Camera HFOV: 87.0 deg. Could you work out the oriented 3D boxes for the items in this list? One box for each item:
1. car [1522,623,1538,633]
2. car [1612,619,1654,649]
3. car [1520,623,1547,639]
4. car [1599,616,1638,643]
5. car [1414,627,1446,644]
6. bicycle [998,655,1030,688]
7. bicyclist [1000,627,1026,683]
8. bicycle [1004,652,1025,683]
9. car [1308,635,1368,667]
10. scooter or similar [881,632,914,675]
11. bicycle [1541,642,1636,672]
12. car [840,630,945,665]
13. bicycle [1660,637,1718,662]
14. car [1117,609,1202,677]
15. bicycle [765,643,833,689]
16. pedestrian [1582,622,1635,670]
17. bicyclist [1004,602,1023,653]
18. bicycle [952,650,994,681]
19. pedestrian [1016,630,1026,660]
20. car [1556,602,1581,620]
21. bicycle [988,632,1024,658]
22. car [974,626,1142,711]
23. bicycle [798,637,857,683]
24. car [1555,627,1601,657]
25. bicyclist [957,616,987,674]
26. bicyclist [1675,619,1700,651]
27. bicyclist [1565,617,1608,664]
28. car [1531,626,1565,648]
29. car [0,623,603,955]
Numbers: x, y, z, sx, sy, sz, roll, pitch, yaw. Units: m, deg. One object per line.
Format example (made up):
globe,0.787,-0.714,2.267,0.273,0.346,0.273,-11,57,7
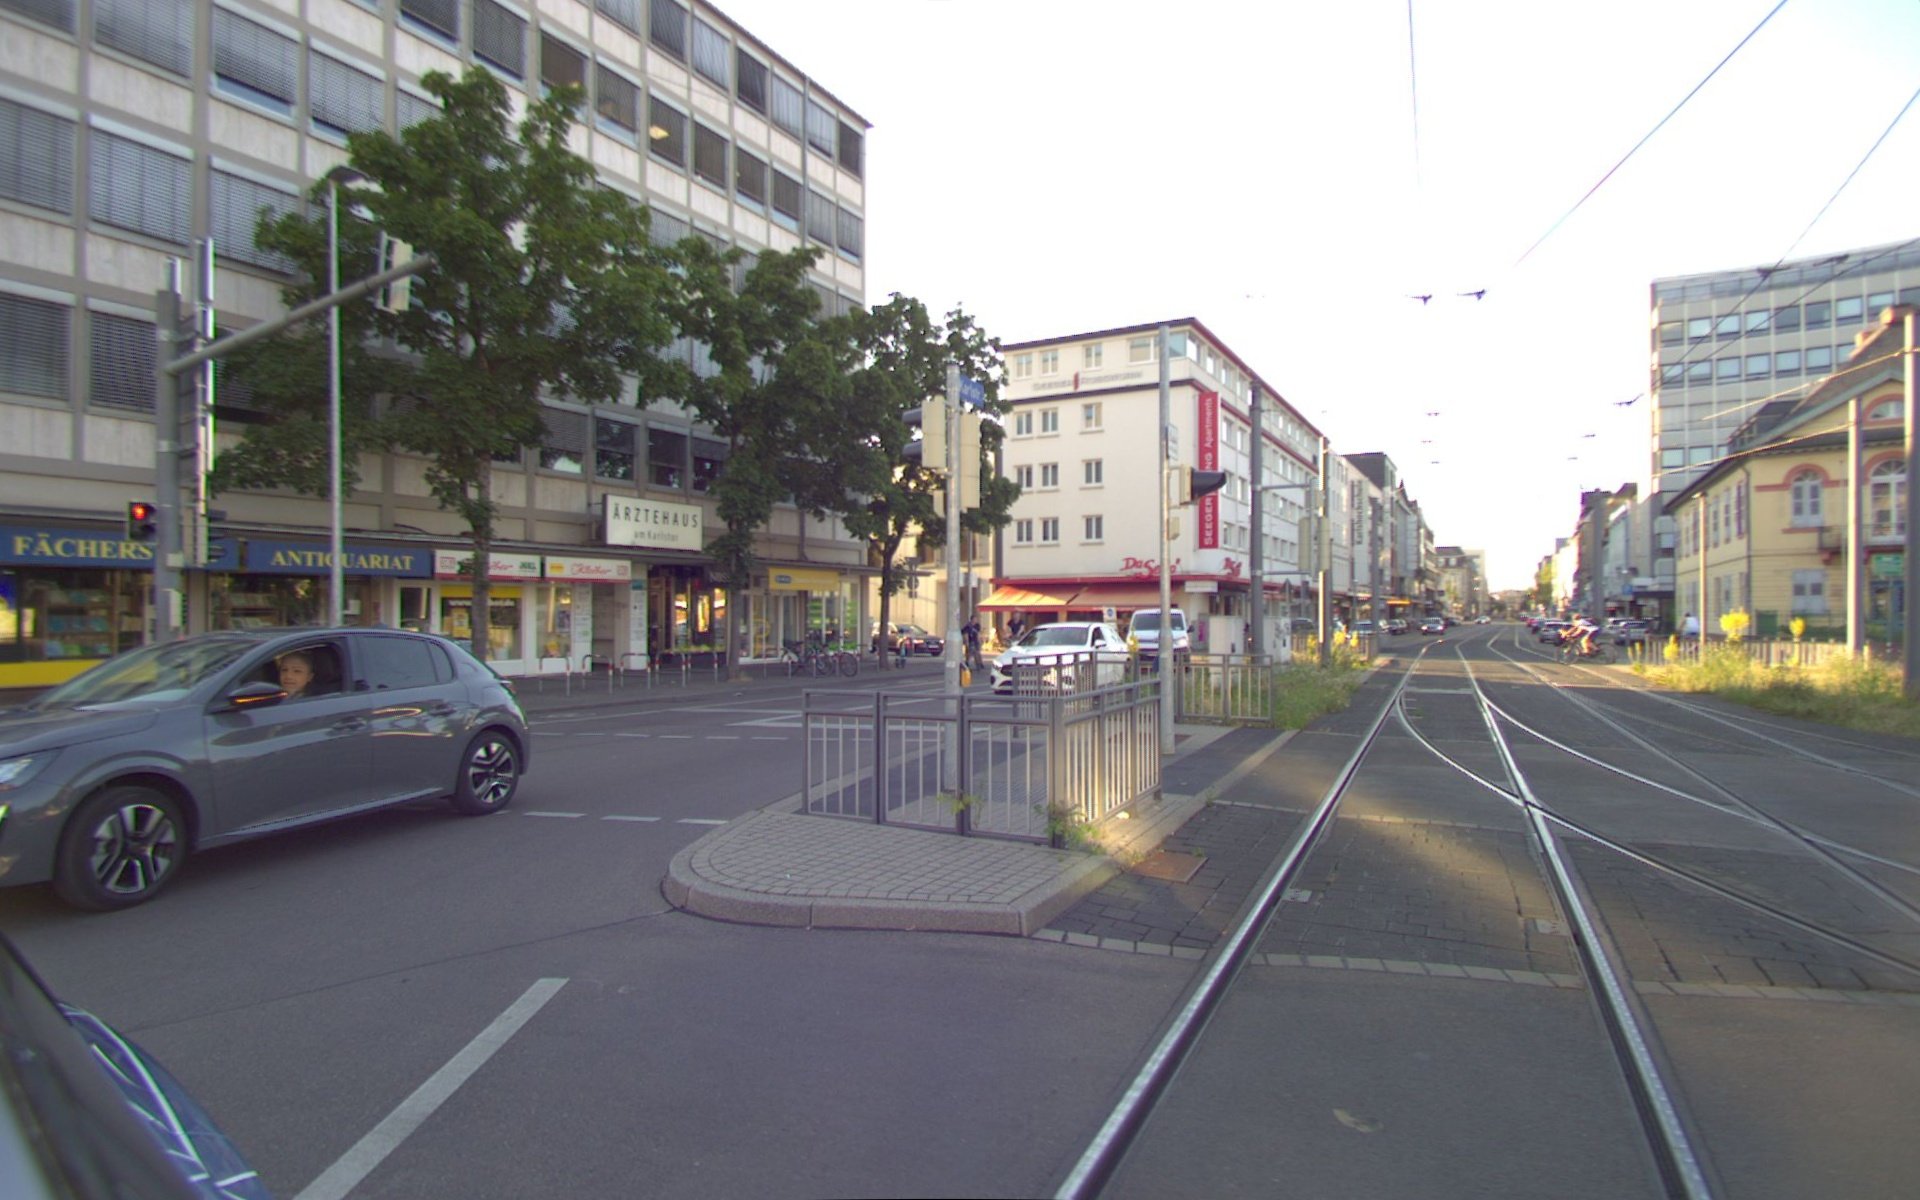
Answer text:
car,91.492,4.466,162.495,1.839,1.519,3.967,-1,-1,24
car,40.716,2.043,61.298,1.729,1.721,3.407,-1,-2,27
car,57.294,3.078,101.099,2.008,1.439,4.614,-2,-2,26
car,42.994,1.891,66.173,1.729,1.721,3.770,0,-1,27
car,44.211,3.325,95.136,2.199,1.571,4.231,0,-1,33
bicycle,1.465,1.939,27.704,0.606,0.831,1.808,0,-1,-6
bicyclist,1.450,1.503,27.757,0.605,1.498,0.719,0,-1,-6
bicycle,1.605,1.999,30.143,0.592,0.831,1.738,0,-1,2
car,19.599,2.596,52.395,2.034,1.452,4.610,0,-1,32
scooter or similar,-2.000,1.697,32.180,0.506,1.332,1.285,1,-2,-30
bicycle,19.815,1.792,31.962,0.833,0.853,2.427,1,-2,-39
car,-2.954,2.066,44.636,4.333,1.447,1.728,0,-1,16
bicycle,28.752,1.943,39.937,1.797,0.899,0.670,-1,-1,44
car,6.019,1.277,30.087,1.984,1.852,4.847,-1,-3,17
bicycle,-4.348,1.768,27.325,1.734,1.149,0.661,0,-1,23
pedestrian,20.931,1.479,32.697,0.987,1.514,1.048,0,-2,-24
bicyclist,1.596,0.821,30.221,0.581,1.498,0.717,0,-1,3
bicycle,0.409,2.019,31.453,0.672,0.908,1.675,-1,-1,26
pedestrian,2.971,2.190,49.331,0.502,1.460,0.507,0,-1,3
car,68.403,1.229,113.846,1.988,1.962,3.967,0,-1,24
bicycle,2.173,2.144,48.309,1.630,1.175,0.593,-1,1,35
car,2.036,1.275,19.726,1.806,1.460,4.523,-3,-3,25
bicycle,-3.685,1.651,28.059,1.631,1.194,0.533,0,-1,30
car,36.057,2.434,59.135,1.991,1.528,4.372,-3,-2,28
bicyclist,0.365,1.381,31.318,0.662,1.740,0.803,-1,-1,26
bicyclist,28.744,1.385,39.998,0.729,1.267,0.659,-1,-2,42
bicyclist,19.813,1.280,32.011,0.822,1.452,0.932,1,-2,-39
car,40.119,2.483,69.012,1.908,1.421,4.292,-1,-1,31
car,-4.690,0.913,6.695,1.903,1.515,4.672,-1,-1,19
